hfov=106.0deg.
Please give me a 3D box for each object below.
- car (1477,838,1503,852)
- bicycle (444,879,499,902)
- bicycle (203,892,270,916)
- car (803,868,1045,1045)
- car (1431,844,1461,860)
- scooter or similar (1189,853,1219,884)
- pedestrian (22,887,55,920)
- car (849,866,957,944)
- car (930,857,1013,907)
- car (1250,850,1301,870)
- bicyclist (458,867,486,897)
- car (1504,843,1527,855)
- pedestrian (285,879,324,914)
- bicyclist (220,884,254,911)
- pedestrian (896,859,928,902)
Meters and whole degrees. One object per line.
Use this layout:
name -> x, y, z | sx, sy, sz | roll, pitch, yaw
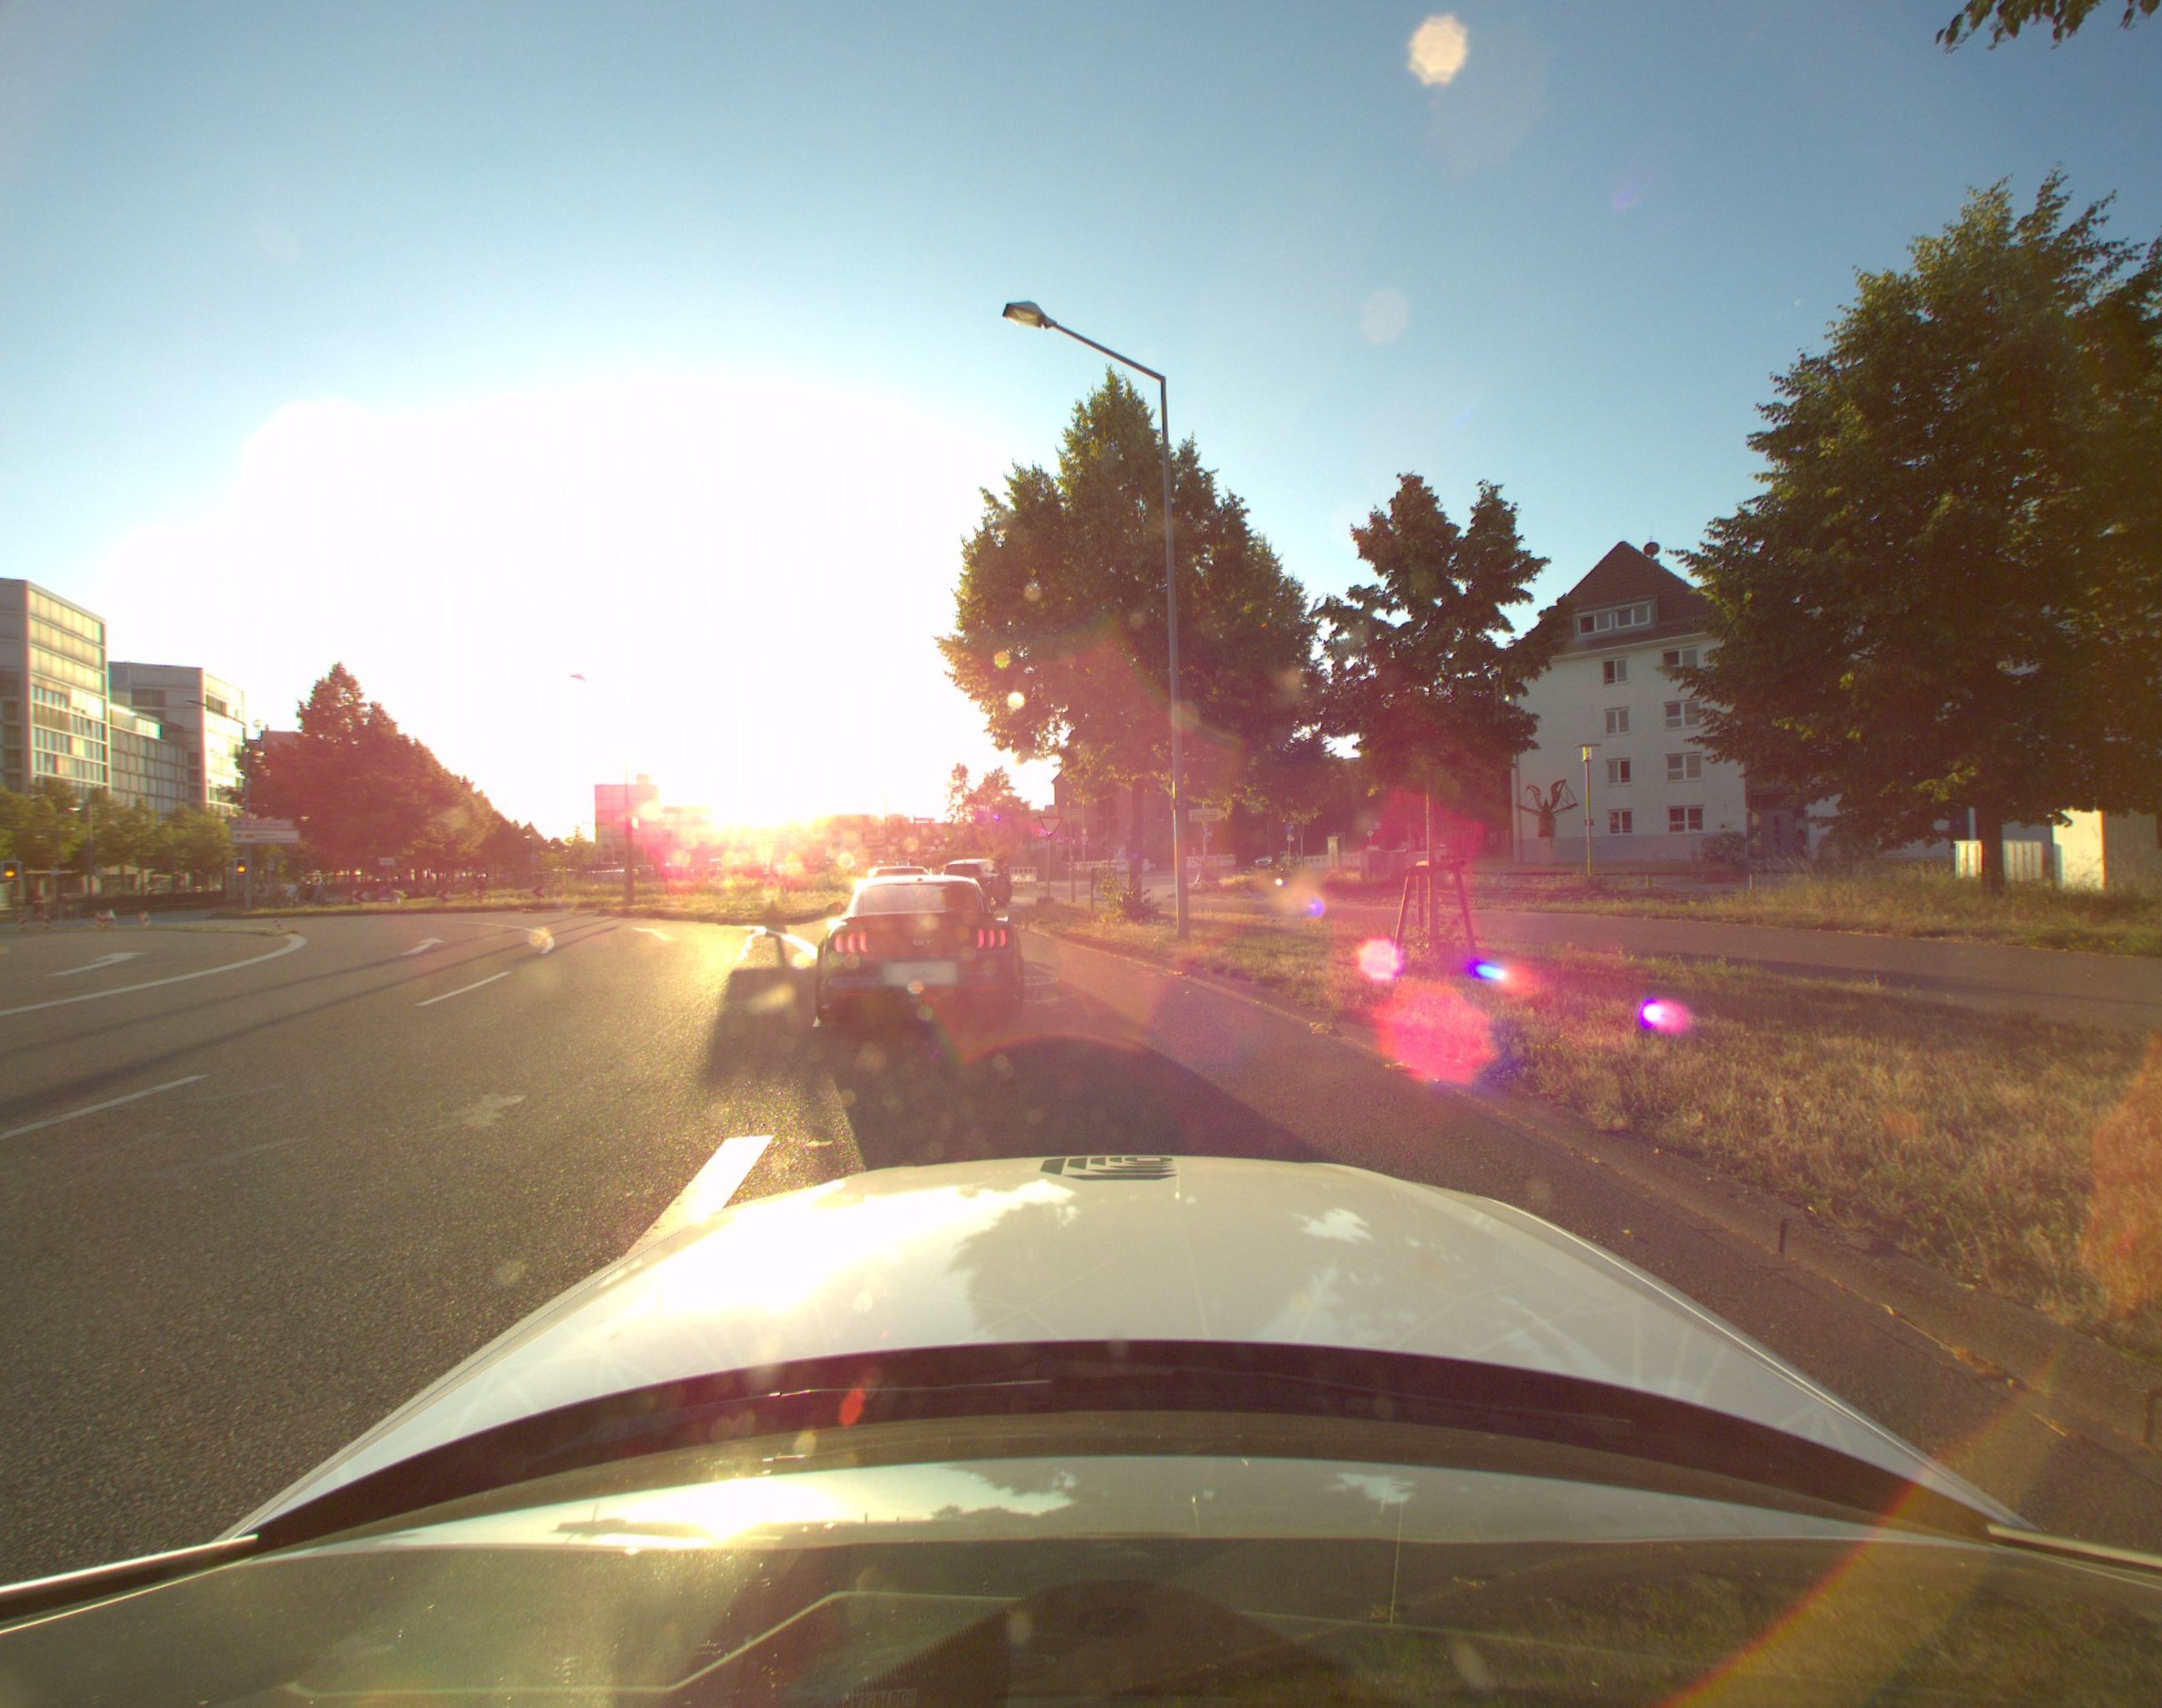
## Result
car -> 50.234, -1.112, 99.955 | 1.932, 1.602, 4.103 | -1, 0, 41
bicycle -> -34.153, 2.038, 45.666 | 2.396, 1.167, 0.753 | -2, 0, -4
bicycle -> -45.190, 2.680, 43.607 | 2.405, 1.167, 0.751 | -2, 0, -14
car -> -1.840, 0.862, 9.000 | 1.954, 1.342, 4.647 | -1, 0, -15
car -> 38.468, -0.261, 85.770 | 1.932, 1.602, 4.103 | -1, 0, 39
scooter or similar -> 5.098, 0.613, 33.764 | 1.120, 1.238, 0.441 | -1, 0, -12
pedestrian -> -55.738, 2.623, 43.542 | 0.892, 1.707, 0.786 | -1, -1, -37
car -> -3.907, 0.992, 17.344 | 1.955, 1.427, 4.405 | 1, -1, -16
car -> -3.801, 0.937, 29.008 | 1.941, 1.602, 4.084 | -2, 0, 6
car -> 16.433, 0.476, 68.706 | 4.683, 1.452, 2.050 | -2, 4, -44
bicyclist -> -34.151, 1.557, 45.653 | 0.973, 1.612, 0.754 | -2, -1, -4
car -> 59.406, -0.712, 111.265 | 1.932, 1.602, 4.103 | -1, 0, 41
pedestrian -> -42.476, 2.288, 44.577 | 1.157, 1.827, 0.977 | -2, -1, -9
bicyclist -> -45.183, 2.332, 43.595 | 0.977, 1.394, 0.751 | -2, -1, -14
pedestrian -> -6.744, 1.043, 32.470 | 0.875, 1.686, 0.852 | -2, 0, 36
